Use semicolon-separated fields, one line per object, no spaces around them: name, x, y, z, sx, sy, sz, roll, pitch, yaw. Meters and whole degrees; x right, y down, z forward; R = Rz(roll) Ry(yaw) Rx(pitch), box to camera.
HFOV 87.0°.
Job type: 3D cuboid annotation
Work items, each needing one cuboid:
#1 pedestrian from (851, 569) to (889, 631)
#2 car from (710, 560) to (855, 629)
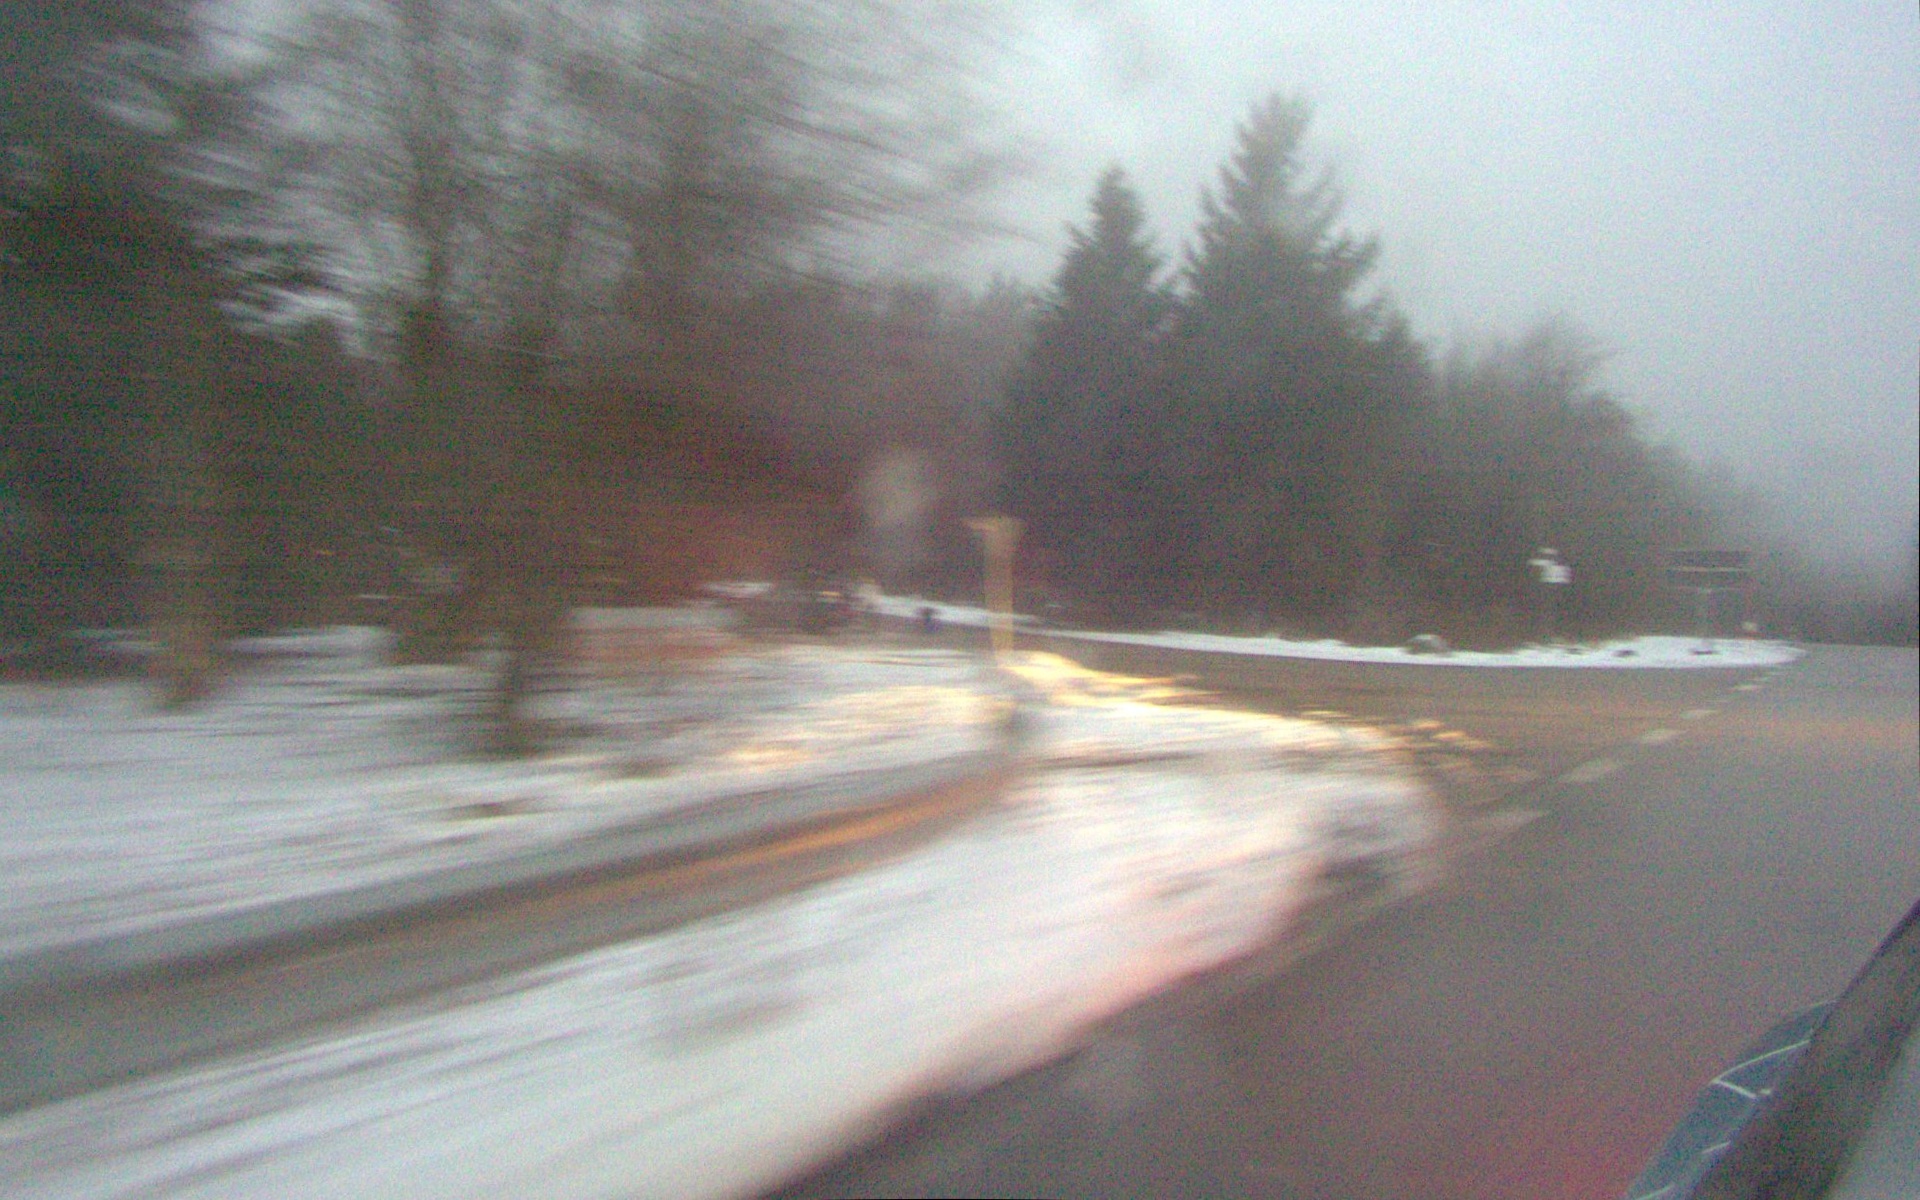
pedestrian;-2.774;0.007;31.202;0.943;1.851;0.927;1;-1;-20
car;-5.353;-0.130;30.488;3.878;1.905;2.003;1;-1;-25
